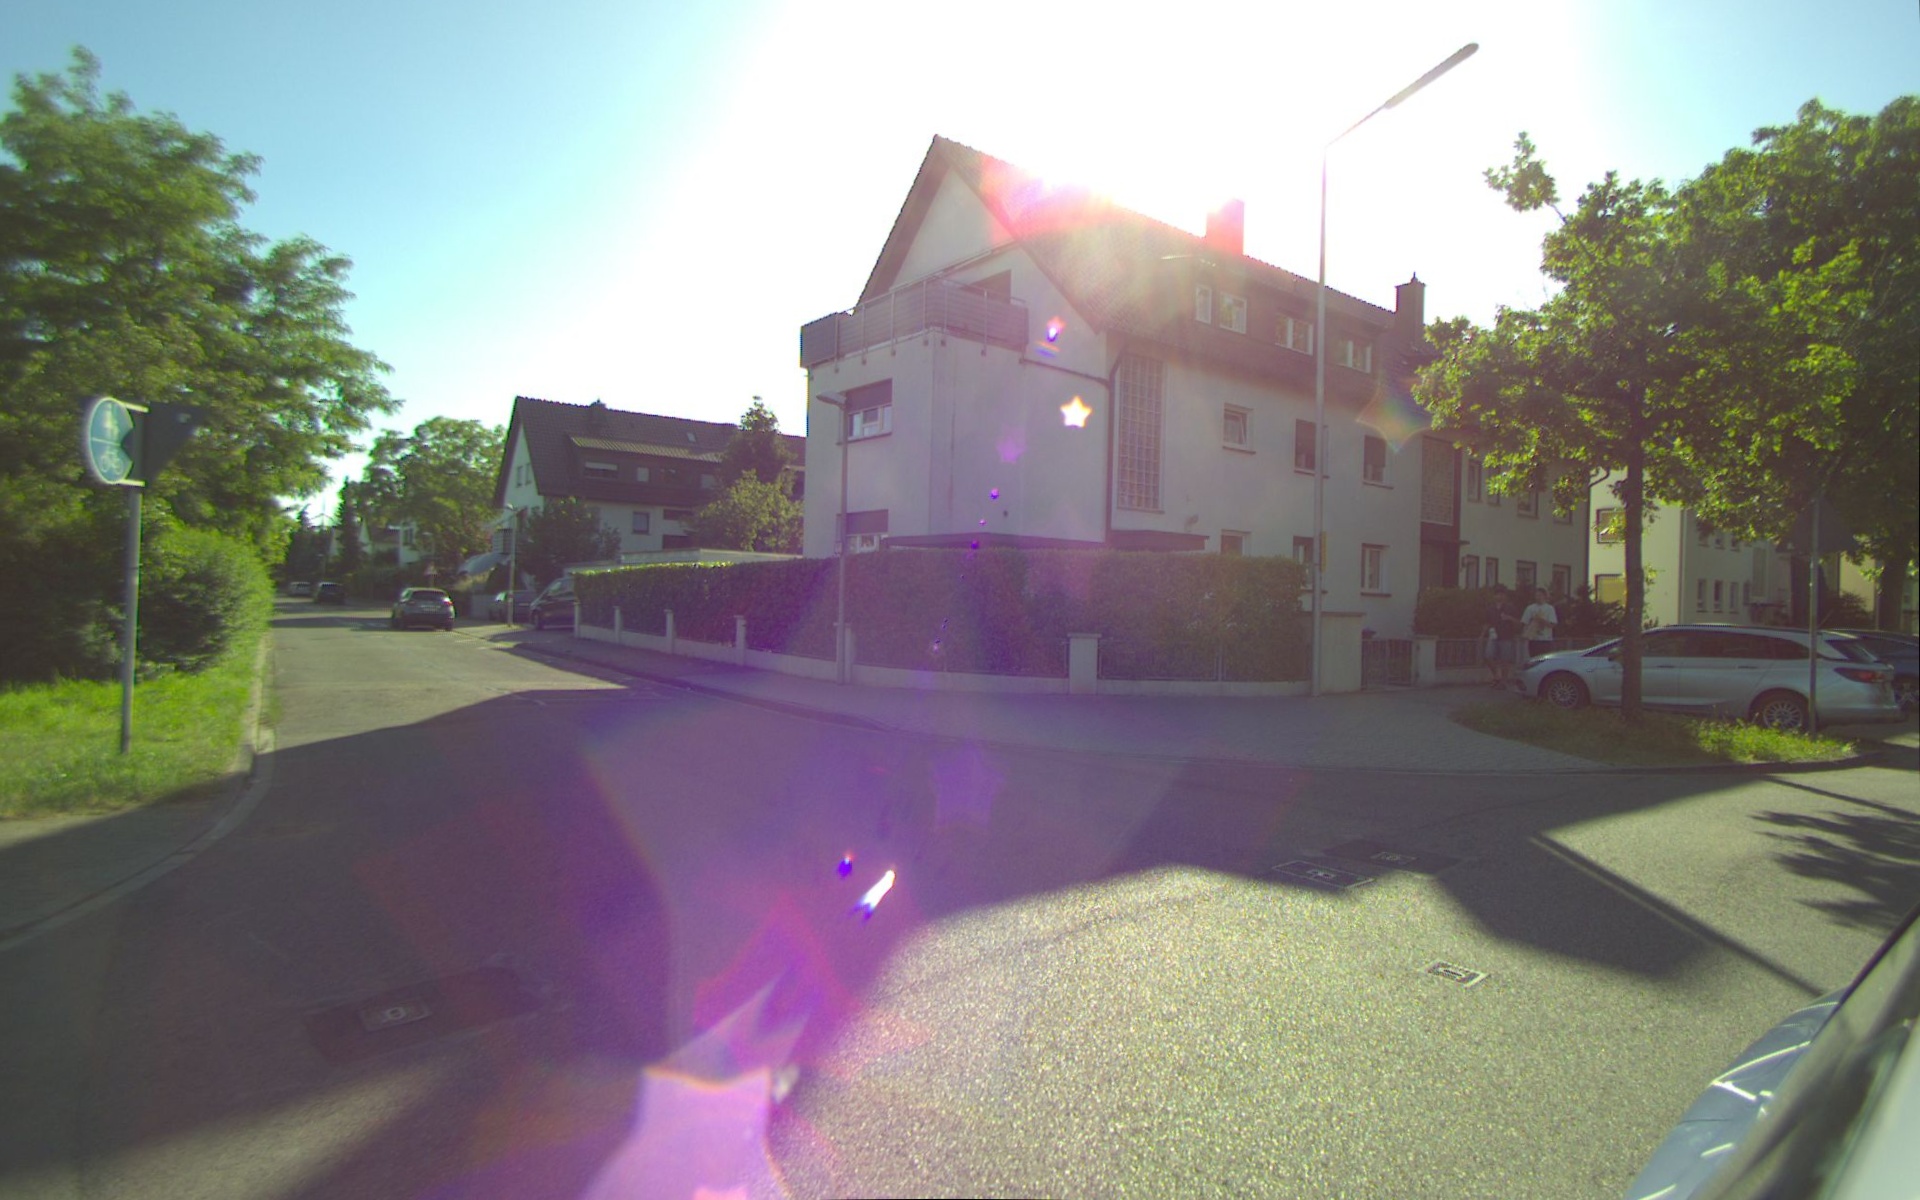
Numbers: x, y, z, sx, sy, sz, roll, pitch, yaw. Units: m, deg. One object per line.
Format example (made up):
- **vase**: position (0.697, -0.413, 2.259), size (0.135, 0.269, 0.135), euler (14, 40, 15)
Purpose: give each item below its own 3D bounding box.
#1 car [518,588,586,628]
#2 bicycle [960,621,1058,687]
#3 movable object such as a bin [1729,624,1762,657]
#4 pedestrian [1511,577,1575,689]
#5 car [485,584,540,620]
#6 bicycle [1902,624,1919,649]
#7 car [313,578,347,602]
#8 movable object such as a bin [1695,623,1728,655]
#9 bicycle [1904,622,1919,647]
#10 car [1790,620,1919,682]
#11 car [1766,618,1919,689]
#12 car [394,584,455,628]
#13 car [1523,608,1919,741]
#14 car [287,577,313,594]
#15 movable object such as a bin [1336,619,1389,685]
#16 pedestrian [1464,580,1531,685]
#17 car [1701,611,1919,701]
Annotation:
- **car**: position (-14.981, 0.268, 37.061), size (1.612, 1.306, 3.786), euler (1, 1, -32)
- **bicycle**: position (0.890, 0.959, 18.369), size (1.654, 1.067, 0.528), euler (3, 0, 21)
- **movable object such as a bin**: position (27.349, 1.399, 35.240), size (0.889, 1.125, 0.705), euler (1, 0, -38)
- **pedestrian**: position (10.221, 0.569, 17.729), size (0.906, 1.897, 0.610), euler (1, 0, -35)
- **car**: position (-19.520, 0.084, 44.063), size (1.612, 1.443, 4.003), euler (1, 1, -32)
- **bicycle**: position (50.411, 1.944, 51.994), size (0.459, 1.252, 2.869), euler (3, 1, -35)
- **car**: position (-48.254, -0.802, 77.514), size (1.962, 1.727, 4.001), euler (1, 1, -35)
- **movable object such as a bin**: position (26.740, 1.379, 36.019), size (0.889, 1.112, 0.705), euler (1, 0, -38)
- **bicycle**: position (50.776, 1.855, 52.299), size (0.459, 1.252, 2.869), euler (1, 2, -35)
- **car**: position (23.612, 1.295, 25.096), size (1.838, 1.380, 4.359), euler (2, 1, -37)
- **car**: position (21.395, 1.250, 23.221), size (1.765, 1.432, 4.283), euler (3, 0, -42)
- **car**: position (-20.425, 0.204, 38.545), size (1.671, 1.549, 4.002), euler (1, 1, -33)
- **car**: position (10.937, 0.950, 14.765), size (1.765, 1.510, 4.436), euler (2, 0, -41)
- **car**: position (-68.948, -1.516, 105.705), size (1.962, 1.616, 3.999), euler (1, 1, -36)
- **movable object such as a bin**: position (6.829, 0.875, 17.167), size (0.687, 1.058, 0.535), euler (2, 0, -39)
- **pedestrian**: position (9.802, 0.571, 18.471), size (0.697, 1.851, 0.837), euler (1, 0, -37)
- **car**: position (17.529, 1.088, 20.010), size (1.763, 1.522, 4.290), euler (3, 0, -36)
